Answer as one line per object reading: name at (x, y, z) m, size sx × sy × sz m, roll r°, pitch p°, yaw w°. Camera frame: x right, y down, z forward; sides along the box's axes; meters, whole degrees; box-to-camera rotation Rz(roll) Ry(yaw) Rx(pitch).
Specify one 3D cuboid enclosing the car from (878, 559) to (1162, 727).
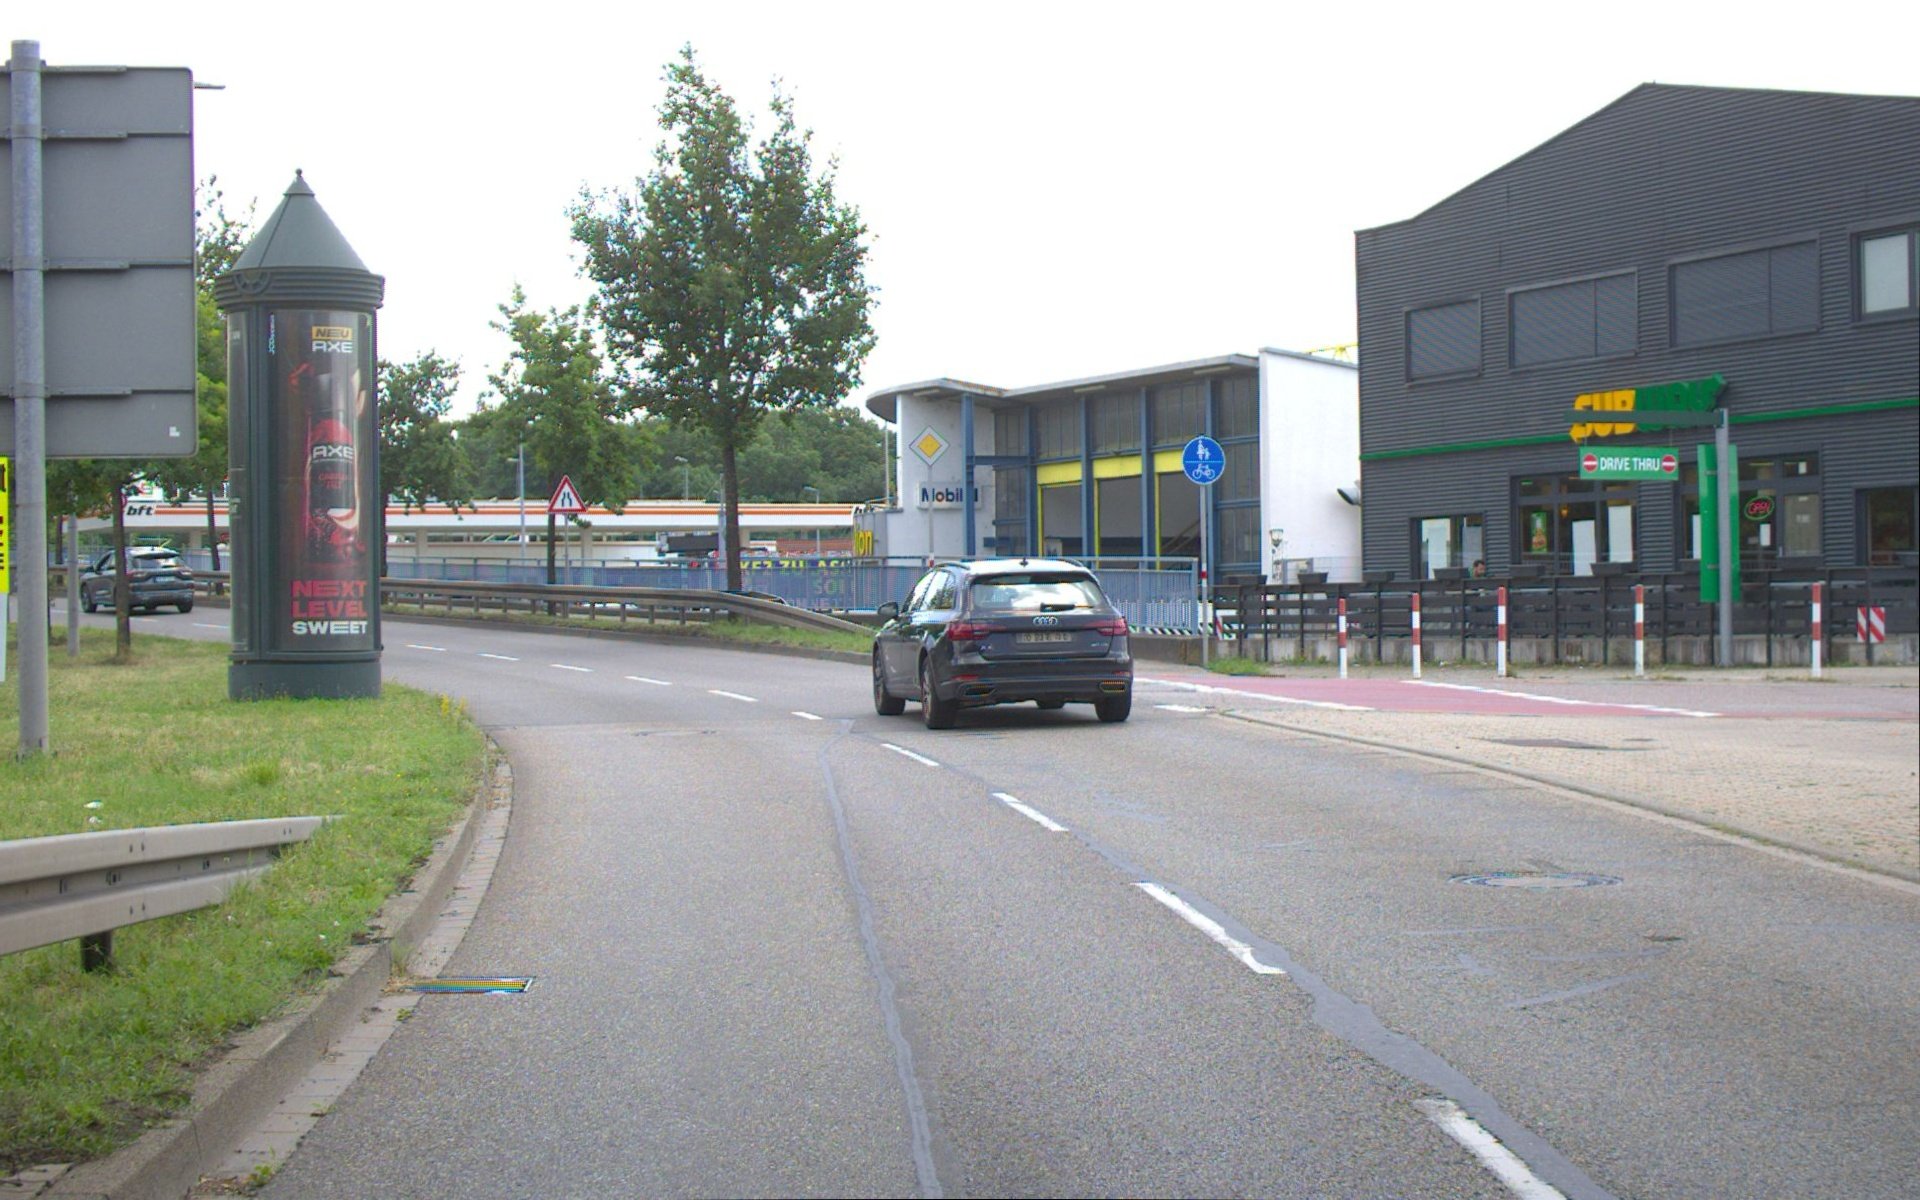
car at (0.451, 0.347, 31.071) m, size 1.993 × 1.386 × 4.576 m, roll 1°, pitch 0°, yaw -6°

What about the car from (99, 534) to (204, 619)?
car at (-20.393, -0.570, 86.570) m, size 1.993 × 2.030 × 4.714 m, roll -1°, pitch -1°, yaw -20°
